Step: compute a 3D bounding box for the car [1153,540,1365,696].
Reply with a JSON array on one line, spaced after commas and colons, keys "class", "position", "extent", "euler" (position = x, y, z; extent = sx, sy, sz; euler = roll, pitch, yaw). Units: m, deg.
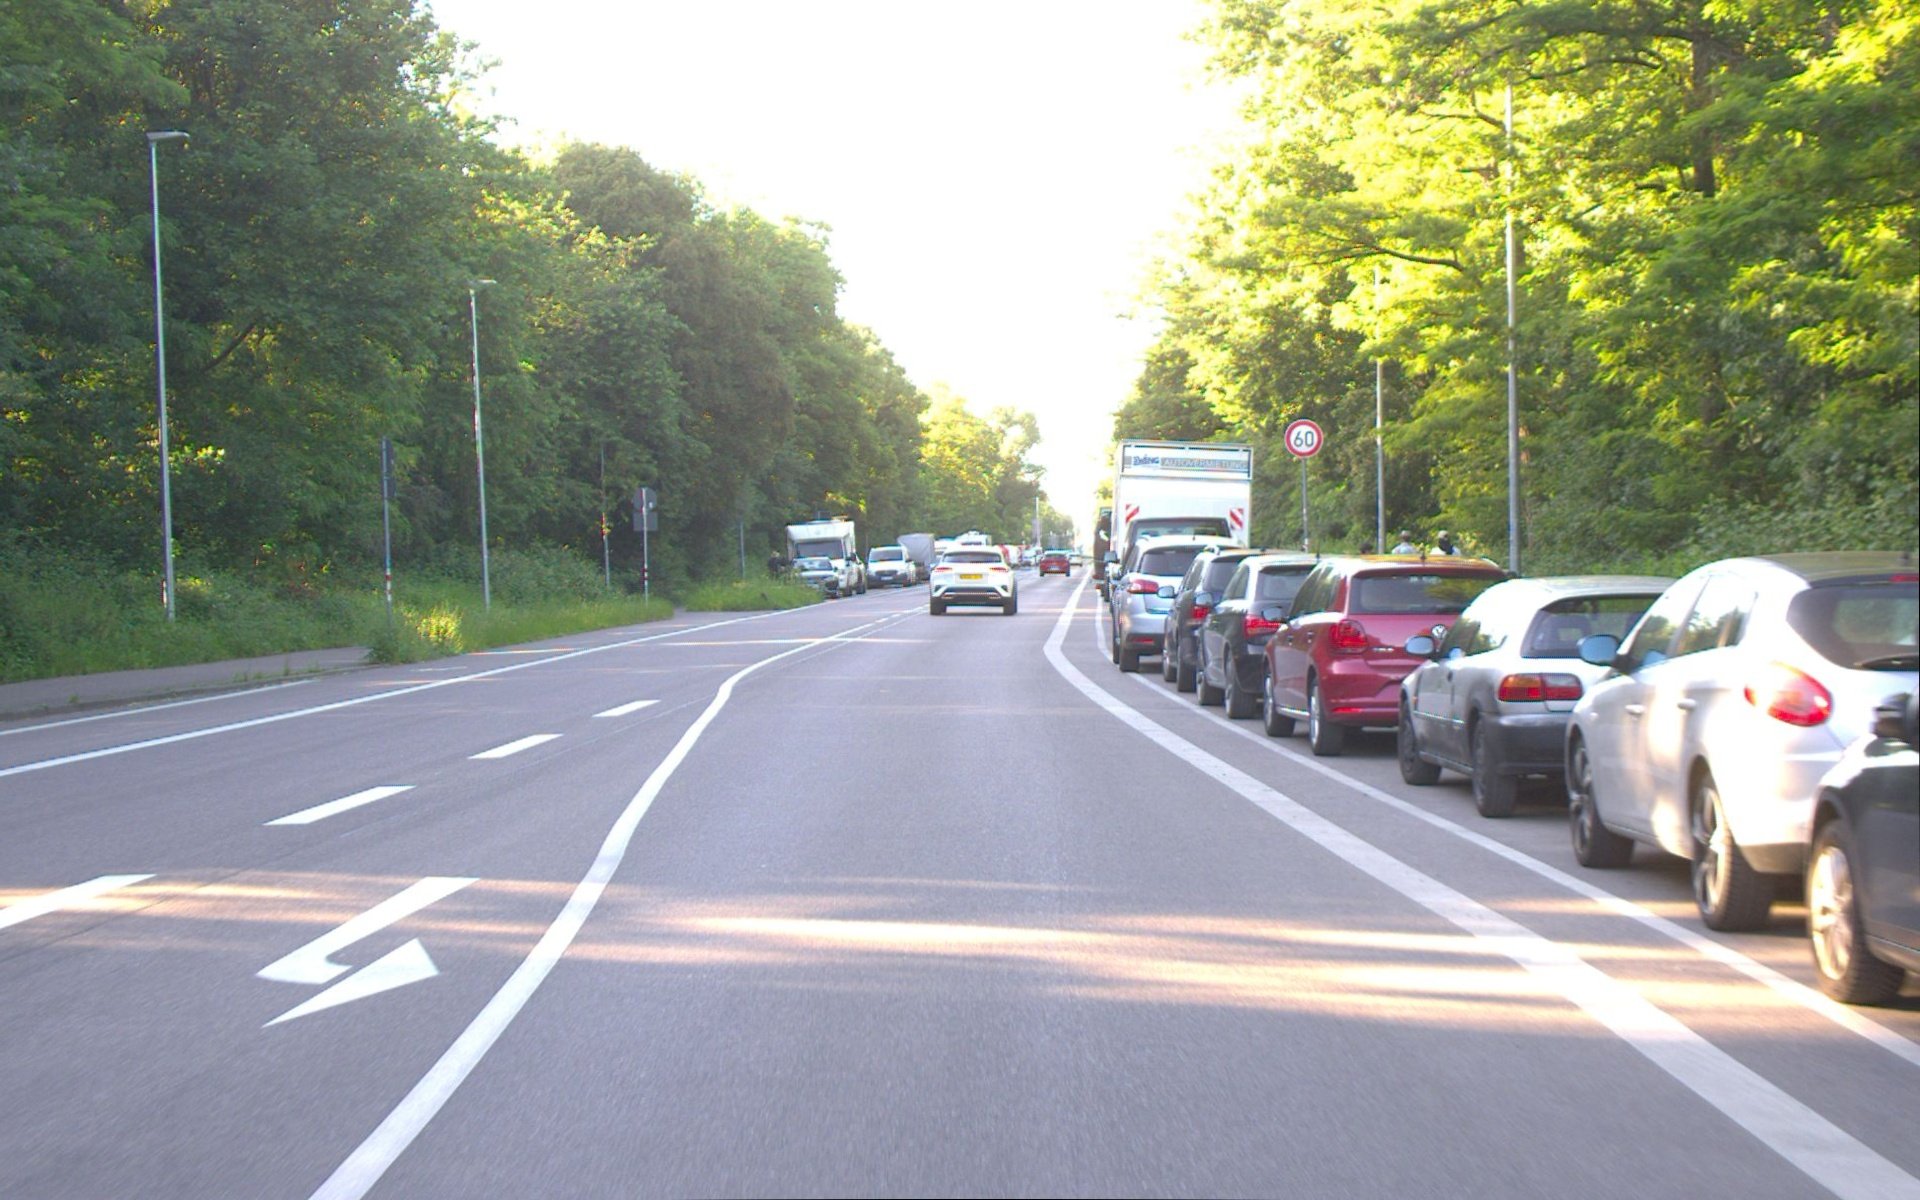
[{"class": "car", "position": [3.092, 0.144, 36.333], "extent": [1.807, 1.514, 4.504], "euler": [1, 1, 0]}]

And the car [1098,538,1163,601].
[{"class": "car", "position": [4.692, -0.862, 94.107], "extent": [1.712, 1.659, 4.551], "euler": [1, 1, 3]}]

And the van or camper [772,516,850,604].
[{"class": "van or camper", "position": [-5.290, -1.439, 123.105], "extent": [2.314, 2.960, 7.111], "euler": [-3, 1, 0]}]

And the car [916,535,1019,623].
[{"class": "car", "position": [0.186, -0.473, 74.952], "extent": [2.029, 1.834, 4.029], "euler": [-1, 1, 3]}]

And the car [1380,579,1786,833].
[{"class": "car", "position": [3.571, 0.553, 20.312], "extent": [1.628, 1.315, 3.841], "euler": [0, 1, -1]}]

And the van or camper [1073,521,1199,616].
[{"class": "van or camper", "position": [5.527, -1.029, 106.862], "extent": [2.443, 2.790, 6.552], "euler": [-1, 1, 16]}]

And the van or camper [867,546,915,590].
[{"class": "van or camper", "position": [-3.137, -1.482, 157.151], "extent": [1.835, 1.905, 4.856], "euler": [-2, 1, 2]}]

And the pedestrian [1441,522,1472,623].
[{"class": "pedestrian", "position": [7.879, -0.443, 54.575], "extent": [0.394, 1.582, 0.482], "euler": [-2, 1, 2]}]

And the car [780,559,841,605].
[{"class": "car", "position": [-5.020, -0.623, 115.853], "extent": [1.827, 1.471, 4.681], "euler": [-2, 1, -1]}]

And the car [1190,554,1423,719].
[{"class": "car", "position": [3.080, 0.286, 31.162], "extent": [1.594, 1.396, 3.799], "euler": [0, 1, -2]}]

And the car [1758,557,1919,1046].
[{"class": "car", "position": [3.695, 0.599, 10.084], "extent": [1.656, 1.447, 4.020], "euler": [-1, 1, -1]}]

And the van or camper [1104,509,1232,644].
[{"class": "van or camper", "position": [3.257, -0.396, 54.390], "extent": [1.898, 2.007, 4.586], "euler": [-1, 1, 3]}]

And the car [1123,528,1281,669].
[{"class": "car", "position": [2.891, -0.050, 41.706], "extent": [1.799, 1.589, 4.029], "euler": [-1, 1, 3]}]

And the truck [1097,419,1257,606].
[{"class": "truck", "position": [4.291, -1.734, 69.619], "extent": [2.832, 3.485, 8.578], "euler": [-1, 1, 1]}]

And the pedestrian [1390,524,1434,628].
[{"class": "pedestrian", "position": [7.766, -0.422, 59.096], "extent": [0.618, 1.758, 0.906], "euler": [-2, 1, 2]}]

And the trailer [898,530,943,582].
[{"class": "trailer", "position": [-2.071, -2.329, 180.384], "extent": [1.994, 2.589, 4.415], "euler": [-3, 1, 3]}]

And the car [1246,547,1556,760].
[{"class": "car", "position": [3.235, 0.344, 25.852], "extent": [1.616, 1.464, 3.725], "euler": [1, 1, -4]}]

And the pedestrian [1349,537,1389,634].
[{"class": "pedestrian", "position": [6.733, -0.246, 56.639], "extent": [0.563, 1.582, 0.482], "euler": [-2, 1, 2]}]

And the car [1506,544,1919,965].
[{"class": "car", "position": [3.631, 0.538, 14.926], "extent": [1.737, 1.519, 4.360], "euler": [-1, 1, -1]}]
